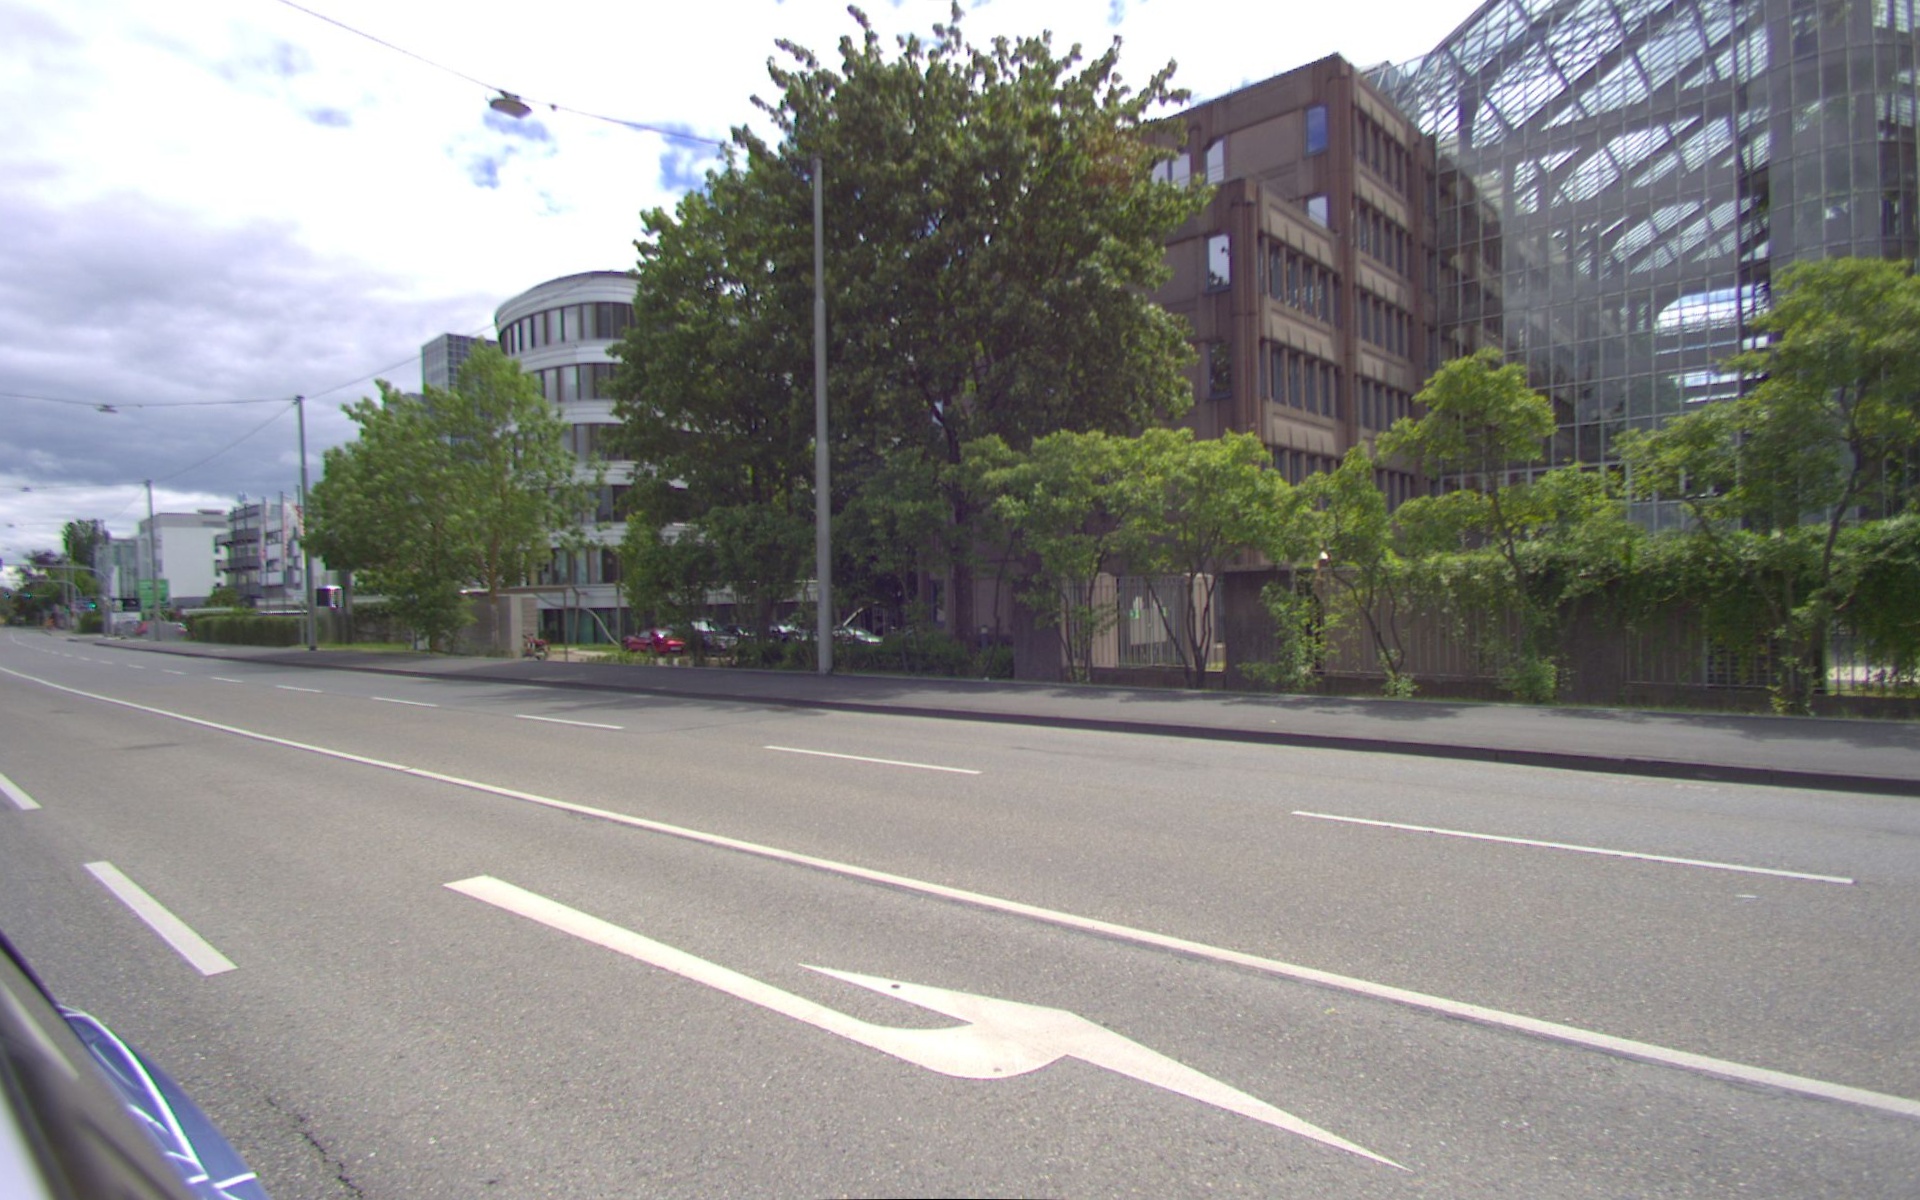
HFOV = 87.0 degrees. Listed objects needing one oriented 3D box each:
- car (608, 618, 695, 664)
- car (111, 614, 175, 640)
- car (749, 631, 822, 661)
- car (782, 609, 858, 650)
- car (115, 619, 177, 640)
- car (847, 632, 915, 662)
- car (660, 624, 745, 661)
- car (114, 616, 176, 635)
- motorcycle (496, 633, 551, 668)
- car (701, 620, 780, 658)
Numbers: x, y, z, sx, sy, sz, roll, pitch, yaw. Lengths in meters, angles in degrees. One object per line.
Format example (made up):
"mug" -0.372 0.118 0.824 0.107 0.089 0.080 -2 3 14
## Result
"car" -14.232 1.840 46.659 3.994 1.807 1.846 2 1 37
"car" -68.414 2.240 84.745 1.920 2.029 3.944 -1 0 43
"car" -8.953 2.306 51.695 3.999 1.386 1.506 -1 0 42
"car" -7.468 1.541 53.813 3.999 2.042 1.908 -1 0 42
"car" -66.645 2.412 82.877 1.835 1.623 3.752 -2 -1 42
"car" -4.793 2.823 60.955 4.039 1.629 1.821 -1 0 42
"car" -12.241 1.989 47.998 3.999 1.630 1.972 -1 -3 42
"car" -71.572 2.243 88.900 1.823 1.342 3.945 -3 1 42
"motorcycle" -17.219 1.971 39.940 0.745 1.254 1.881 -1 0 39
"car" -10.867 1.914 50.071 3.999 1.736 1.800 -1 0 42
